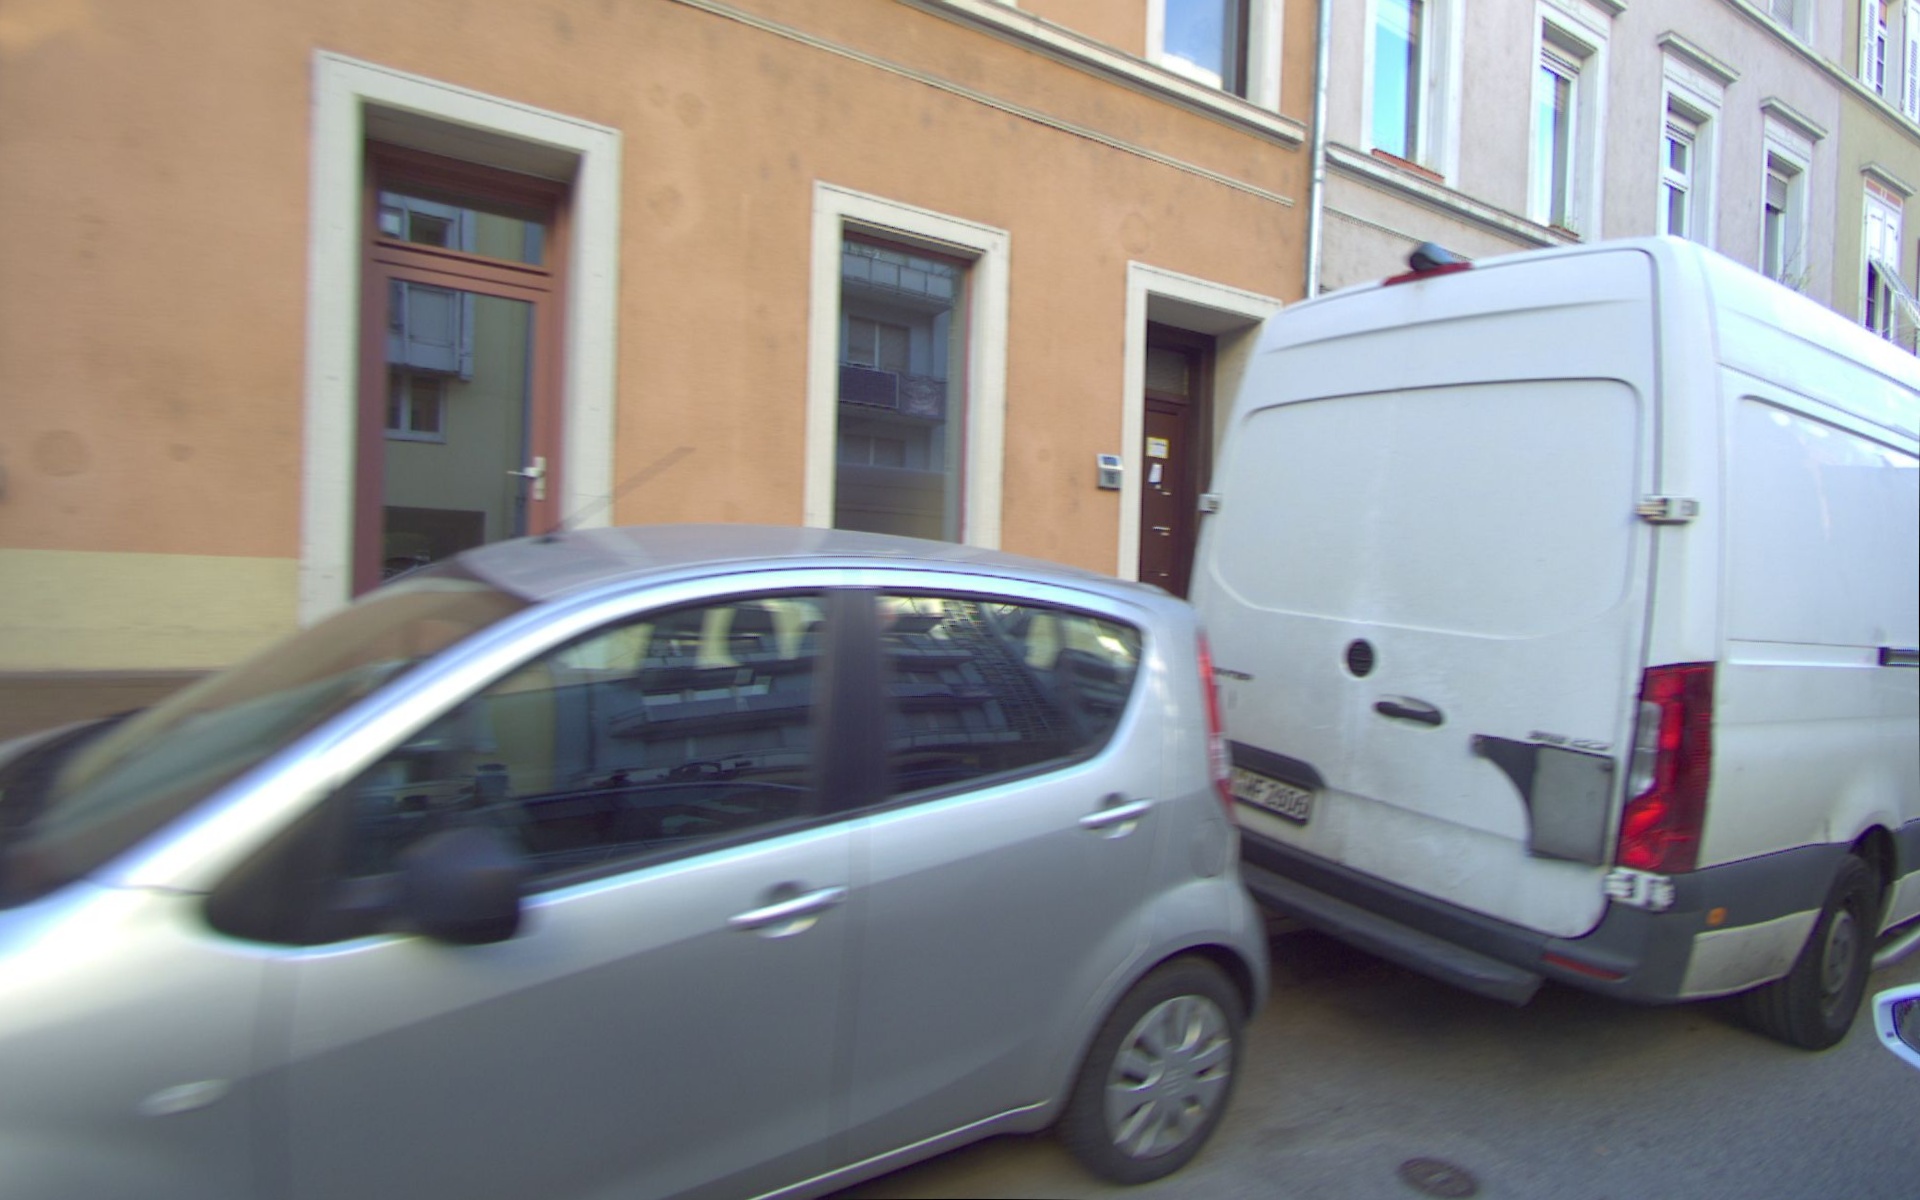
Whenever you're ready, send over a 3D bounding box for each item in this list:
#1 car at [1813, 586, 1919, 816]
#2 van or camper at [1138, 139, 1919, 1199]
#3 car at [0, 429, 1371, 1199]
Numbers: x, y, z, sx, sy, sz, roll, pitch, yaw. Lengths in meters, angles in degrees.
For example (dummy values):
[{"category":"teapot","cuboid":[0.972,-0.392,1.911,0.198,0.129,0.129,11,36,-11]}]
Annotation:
[{"category":"car","cuboid":[9.379,0.849,8.654,4.245,1.774,1.853,2,1,-32]},{"category":"van or camper","cuboid":[4.238,0.281,5.277,7.064,2.684,1.938,2,-1,-33]},{"category":"car","cuboid":[-0.845,0.640,2.487,3.611,1.708,1.582,2,1,-31]}]
